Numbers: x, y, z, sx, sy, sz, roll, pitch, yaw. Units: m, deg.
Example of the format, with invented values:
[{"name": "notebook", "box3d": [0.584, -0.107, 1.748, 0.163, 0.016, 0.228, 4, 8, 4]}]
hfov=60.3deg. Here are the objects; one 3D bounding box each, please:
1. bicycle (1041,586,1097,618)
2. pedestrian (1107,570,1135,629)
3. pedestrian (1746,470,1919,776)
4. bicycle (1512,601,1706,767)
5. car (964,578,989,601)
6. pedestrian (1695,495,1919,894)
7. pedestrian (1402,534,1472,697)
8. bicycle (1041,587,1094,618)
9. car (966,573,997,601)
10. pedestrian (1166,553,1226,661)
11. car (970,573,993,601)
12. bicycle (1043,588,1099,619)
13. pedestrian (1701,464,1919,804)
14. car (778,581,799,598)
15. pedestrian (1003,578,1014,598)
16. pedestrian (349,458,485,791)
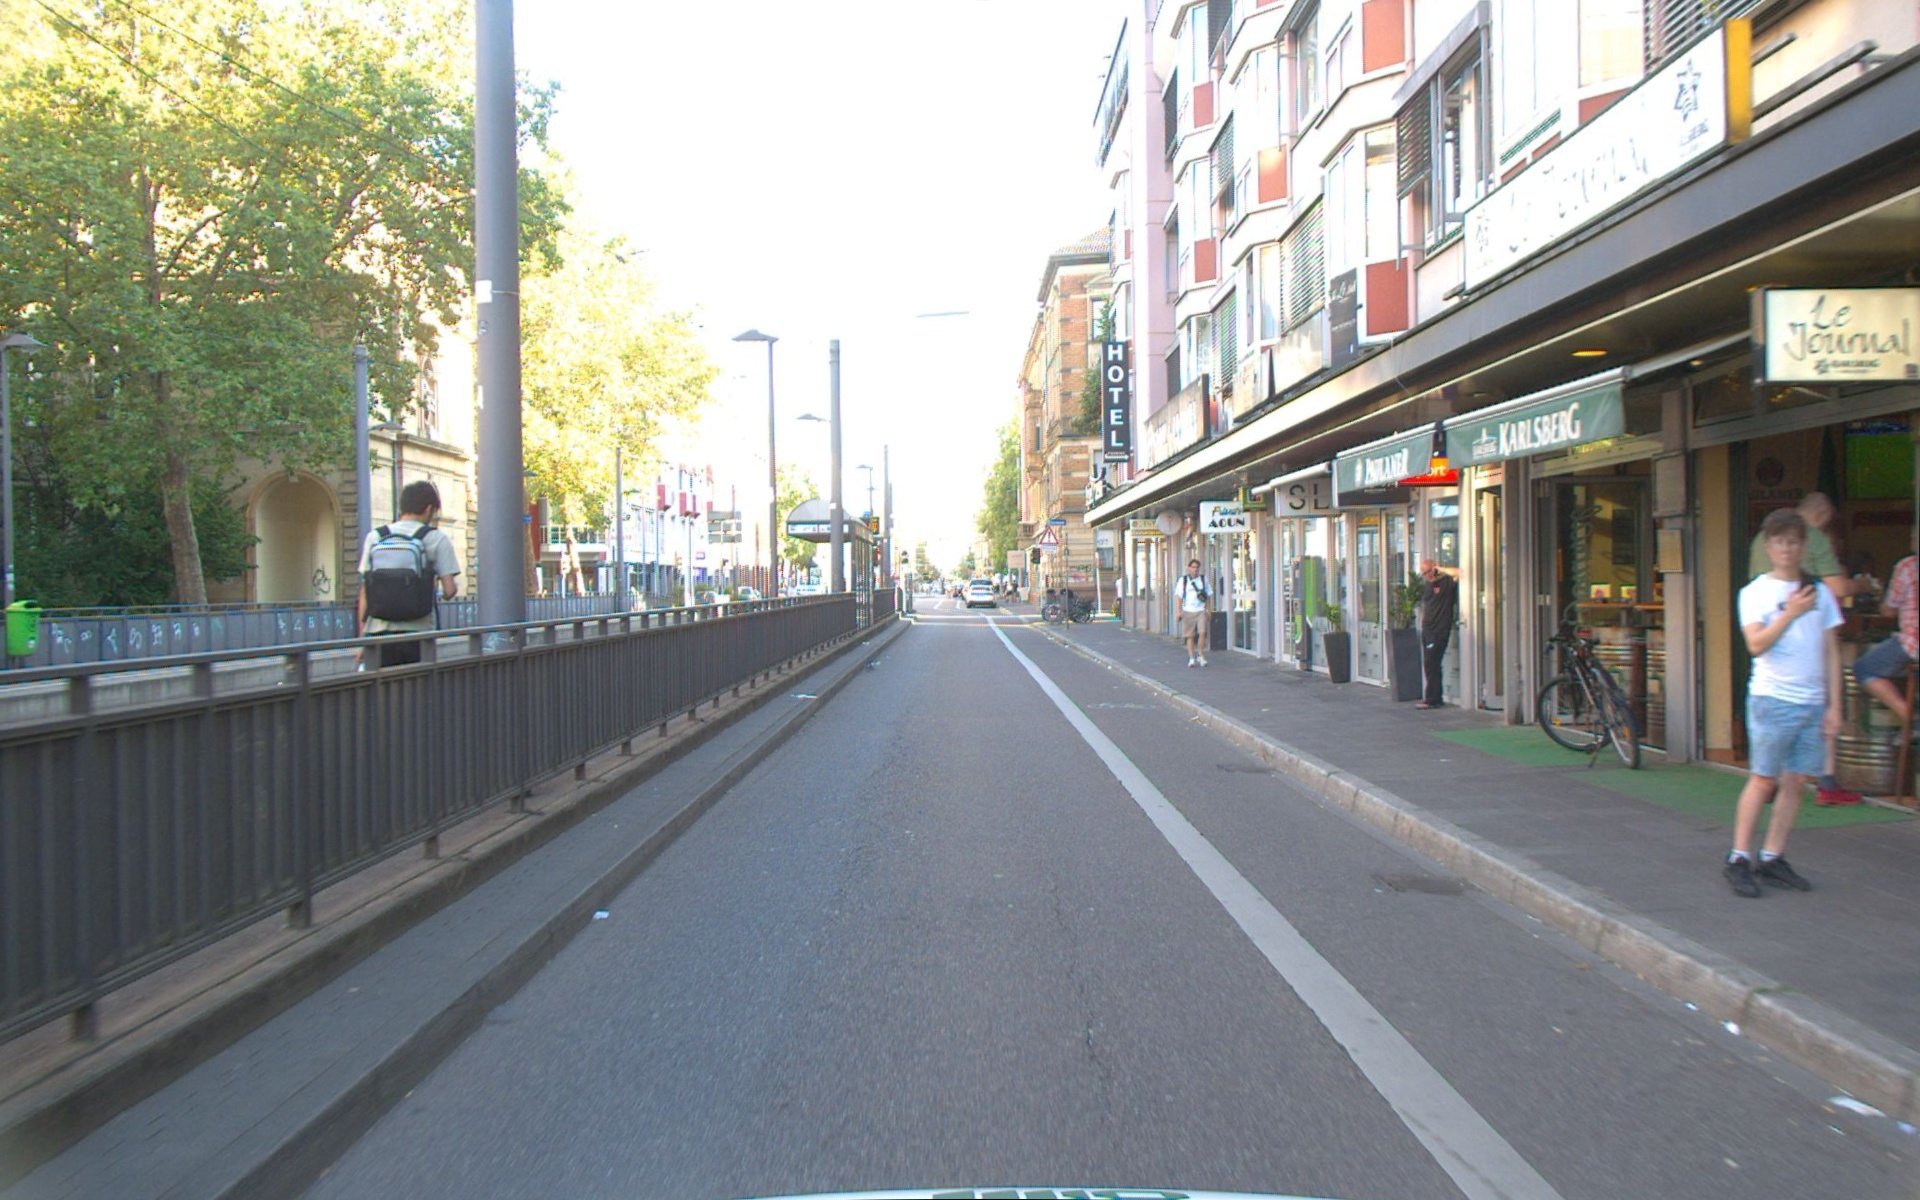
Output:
[{"name": "bicycle", "box3d": [3.874, 0.067, 58.750, 1.931, 1.124, 0.614, -1, 1, -4]}, {"name": "pedestrian", "box3d": [5.356, -0.017, 55.052, 0.796, 1.917, 0.776, 3, 0, 1]}, {"name": "pedestrian", "box3d": [5.721, 0.135, 10.778, 0.765, 1.899, 0.683, -2, 0, -20]}, {"name": "bicycle", "box3d": [4.825, 0.583, 12.420, 0.644, 1.085, 1.794, -5, 0, -1]}, {"name": "car", "box3d": [1.362, -0.868, 136.664, 1.910, 1.819, 5.180, 1, 0, -1]}, {"name": "pedestrian", "box3d": [3.848, 0.407, 7.520, 0.619, 1.702, 0.771, -2, 0, 0]}, {"name": "pedestrian", "box3d": [5.088, 0.159, 17.666, 0.531, 1.702, 0.468, -2, 0, -9]}, {"name": "bicycle", "box3d": [3.862, 0.081, 59.480, 1.797, 1.072, 0.717, 0, 0, -4]}, {"name": "car", "box3d": [1.409, -0.839, 108.721, 1.926, 1.802, 4.876, 1, 0, 1]}, {"name": "pedestrian", "box3d": [3.990, 0.123, 28.048, 0.781, 1.752, 1.061, -4, 0, 1]}, {"name": "car", "box3d": [1.704, -1.003, 131.284, 1.670, 2.157, 3.707, 0, 0, 3]}, {"name": "bicycle", "box3d": [3.895, 0.131, 58.094, 1.875, 1.066, 0.681, 0, 0, -4]}, {"name": "pedestrian", "box3d": [5.128, 0.193, 9.910, 0.896, 1.899, 0.779, -4, 0, -4]}, {"name": "car", "box3d": [-17.244, -1.059, 166.373, 1.832, 1.628, 4.252, 0, 1, -3]}, {"name": "pedestrian", "box3d": [3.948, -0.984, 134.352, 0.760, 1.594, 0.914, -4, 0, 1]}, {"name": "pedestrian", "box3d": [-3.064, 0.132, 9.375, 0.571, 1.823, 0.606, 0, 0, -2]}]
